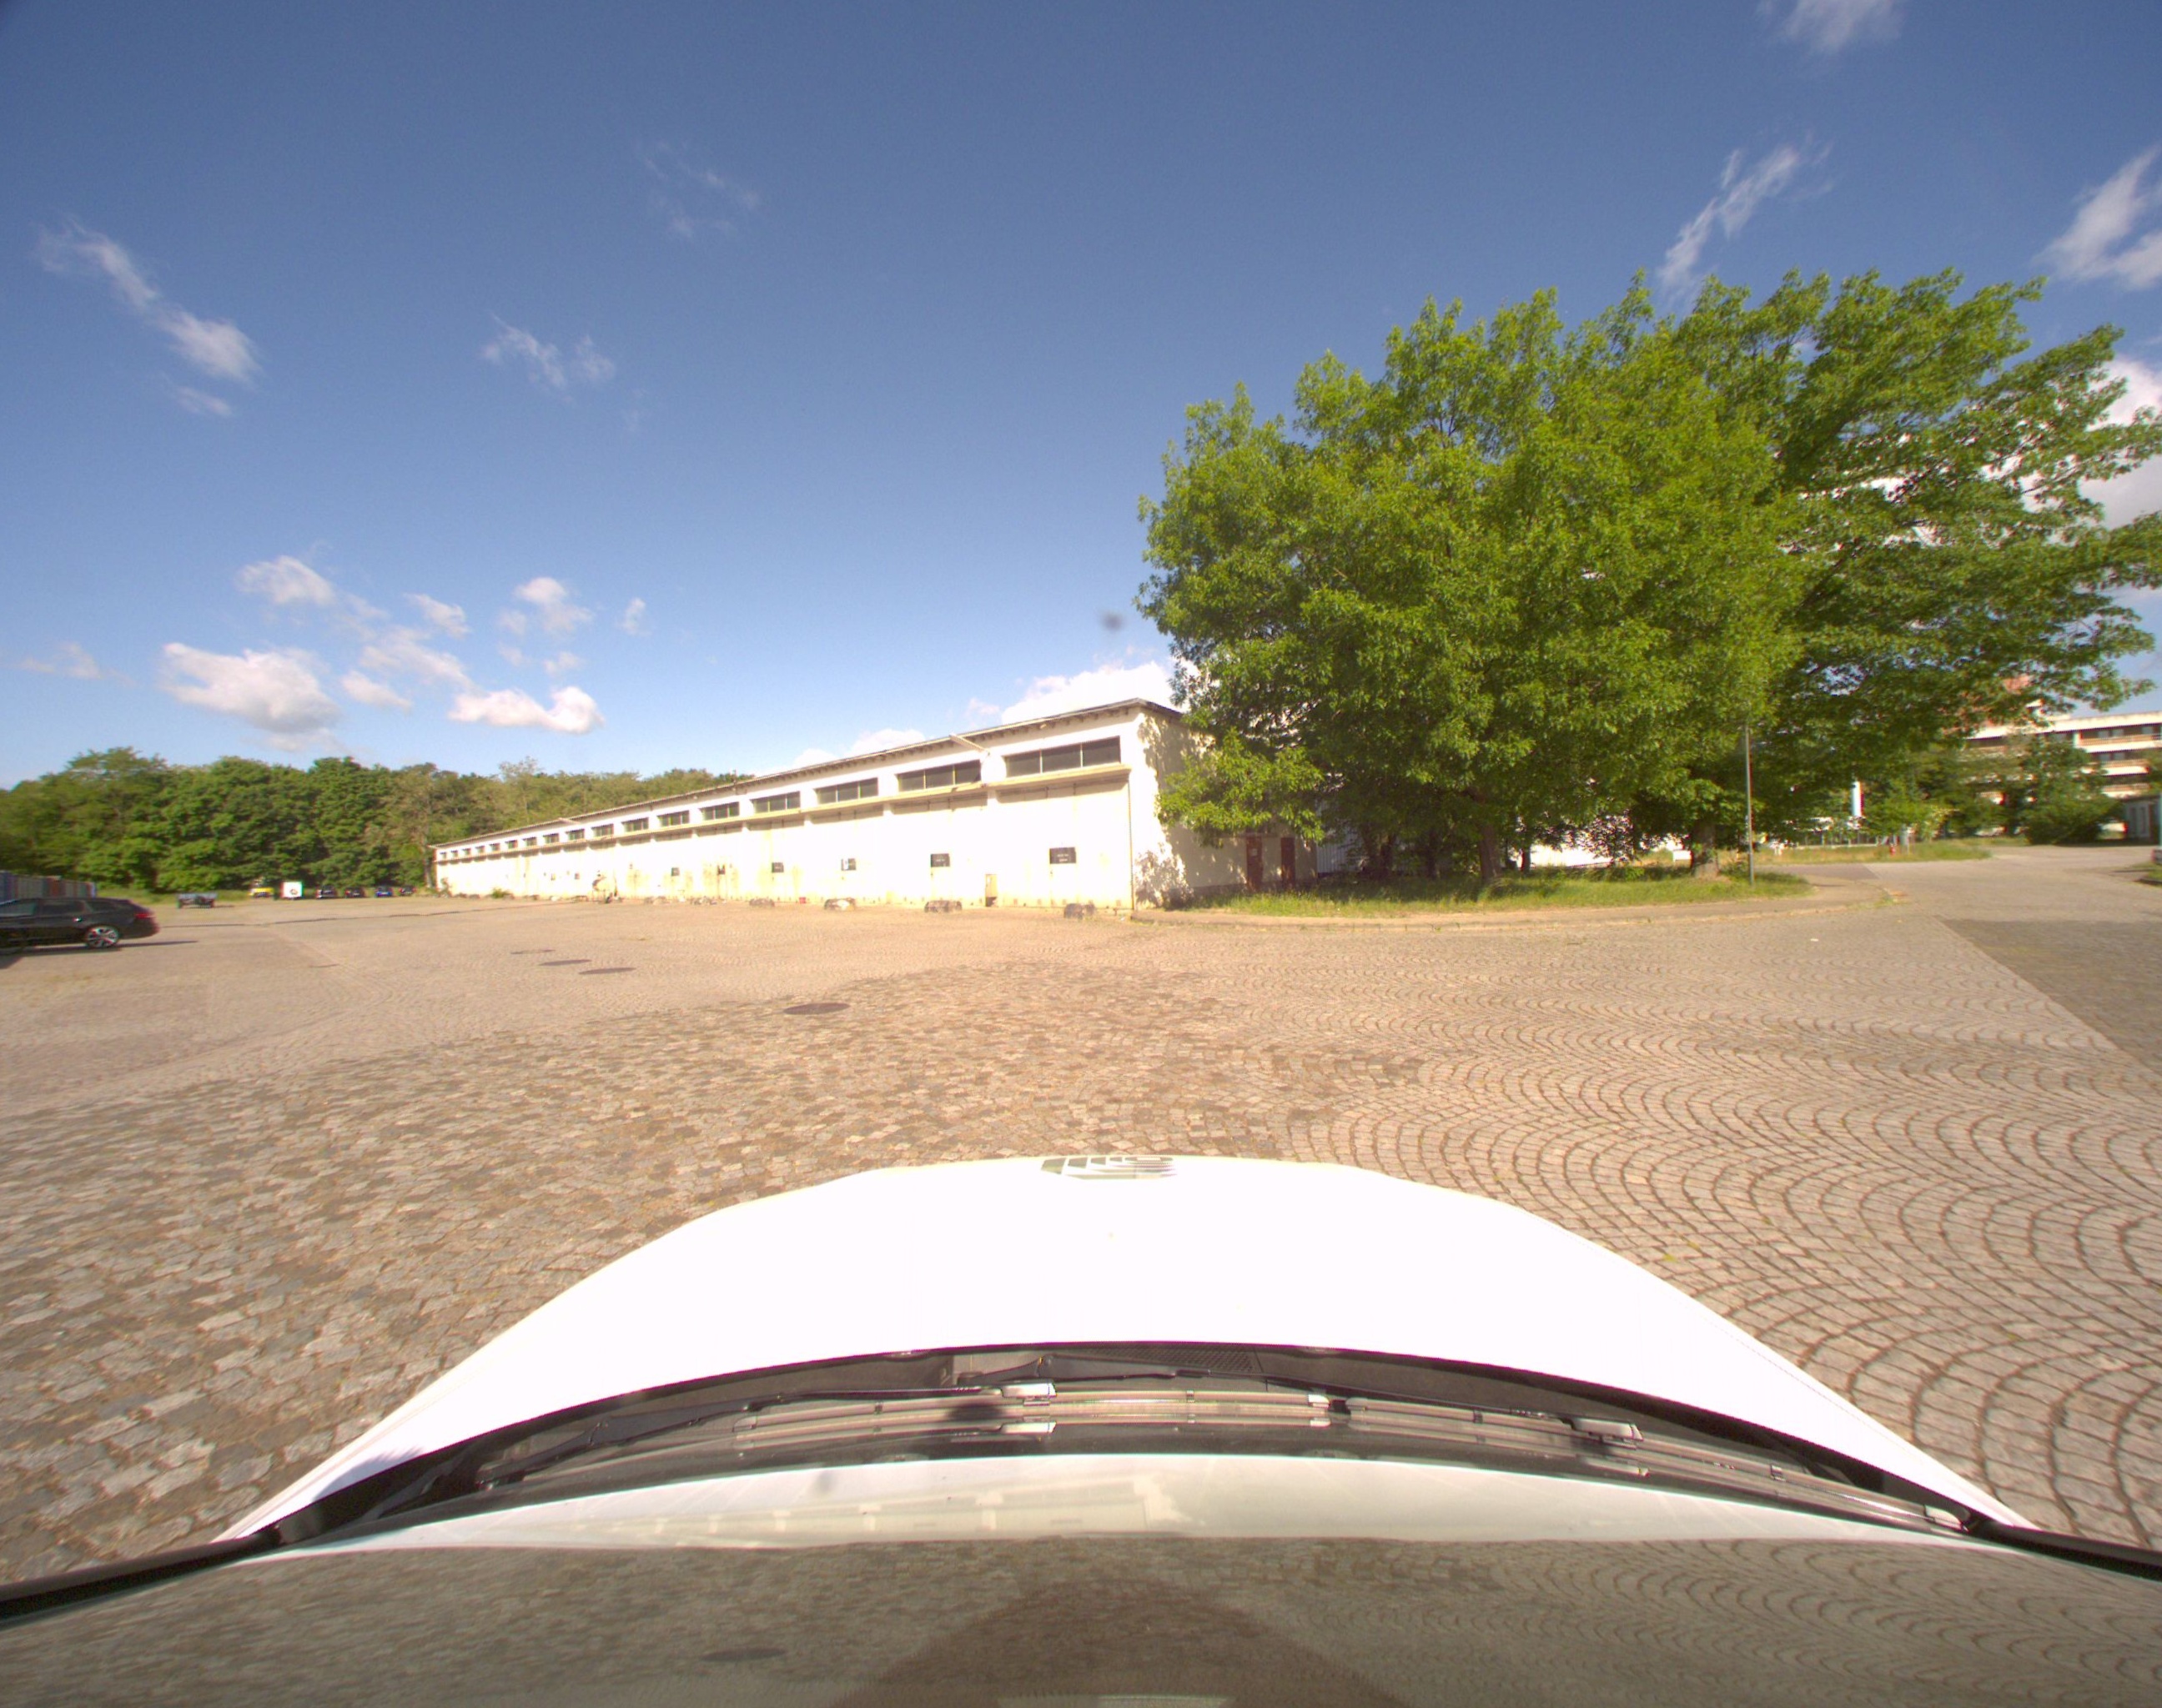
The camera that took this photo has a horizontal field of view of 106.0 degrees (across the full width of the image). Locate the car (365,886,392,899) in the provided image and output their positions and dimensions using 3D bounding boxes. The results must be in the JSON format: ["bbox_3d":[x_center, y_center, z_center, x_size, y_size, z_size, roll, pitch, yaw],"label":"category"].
[{"bbox_3d":[-86.635,4.686,100.419,3.949,1.466,2.012,-3,-1,43],"label":"car"}]

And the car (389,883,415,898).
[{"bbox_3d":[-85.912,4.562,103.002,3.949,1.772,2.012,-3,-1,43],"label":"car"}]

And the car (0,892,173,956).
[{"bbox_3d":[-27.778,1.872,21.850,1.974,1.464,4.457,-3,-1,40],"label":"car"}]

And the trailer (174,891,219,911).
[{"bbox_3d":[-84.146,4.421,77.486,5.549,1.646,2.818,-3,-1,42],"label":"trailer"}]

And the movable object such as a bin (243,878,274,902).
[{"bbox_3d":[-94.892,4.130,93.950,3.948,2.657,2.253,-2,-1,41],"label":"movable object such as a bin"}]

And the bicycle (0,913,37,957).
[{"bbox_3d":[-27.334,2.042,20.088,1.025,1.028,1.893,-3,-1,40],"label":"bicycle"}]

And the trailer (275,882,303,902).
[{"bbox_3d":[-92.637,4.447,95.255,4.375,2.162,2.012,-3,-1,42],"label":"trailer"}]

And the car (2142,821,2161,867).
[{"bbox_3d":[41.535,-0.458,28.834,4.461,1.647,2.012,-3,-1,41],"label":"car"}]

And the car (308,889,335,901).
[{"bbox_3d":[-89.893,4.833,96.392,3.949,1.258,2.012,-3,-1,43],"label":"car"}]

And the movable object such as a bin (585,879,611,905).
[{"bbox_3d":[-26.252,2.068,44.285,1.087,1.401,0.883,-3,-1,42],"label":"movable object such as a bin"}]

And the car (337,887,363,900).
[{"bbox_3d":[-88.424,4.773,98.511,3.949,1.424,2.012,-3,-1,43],"label":"car"}]
